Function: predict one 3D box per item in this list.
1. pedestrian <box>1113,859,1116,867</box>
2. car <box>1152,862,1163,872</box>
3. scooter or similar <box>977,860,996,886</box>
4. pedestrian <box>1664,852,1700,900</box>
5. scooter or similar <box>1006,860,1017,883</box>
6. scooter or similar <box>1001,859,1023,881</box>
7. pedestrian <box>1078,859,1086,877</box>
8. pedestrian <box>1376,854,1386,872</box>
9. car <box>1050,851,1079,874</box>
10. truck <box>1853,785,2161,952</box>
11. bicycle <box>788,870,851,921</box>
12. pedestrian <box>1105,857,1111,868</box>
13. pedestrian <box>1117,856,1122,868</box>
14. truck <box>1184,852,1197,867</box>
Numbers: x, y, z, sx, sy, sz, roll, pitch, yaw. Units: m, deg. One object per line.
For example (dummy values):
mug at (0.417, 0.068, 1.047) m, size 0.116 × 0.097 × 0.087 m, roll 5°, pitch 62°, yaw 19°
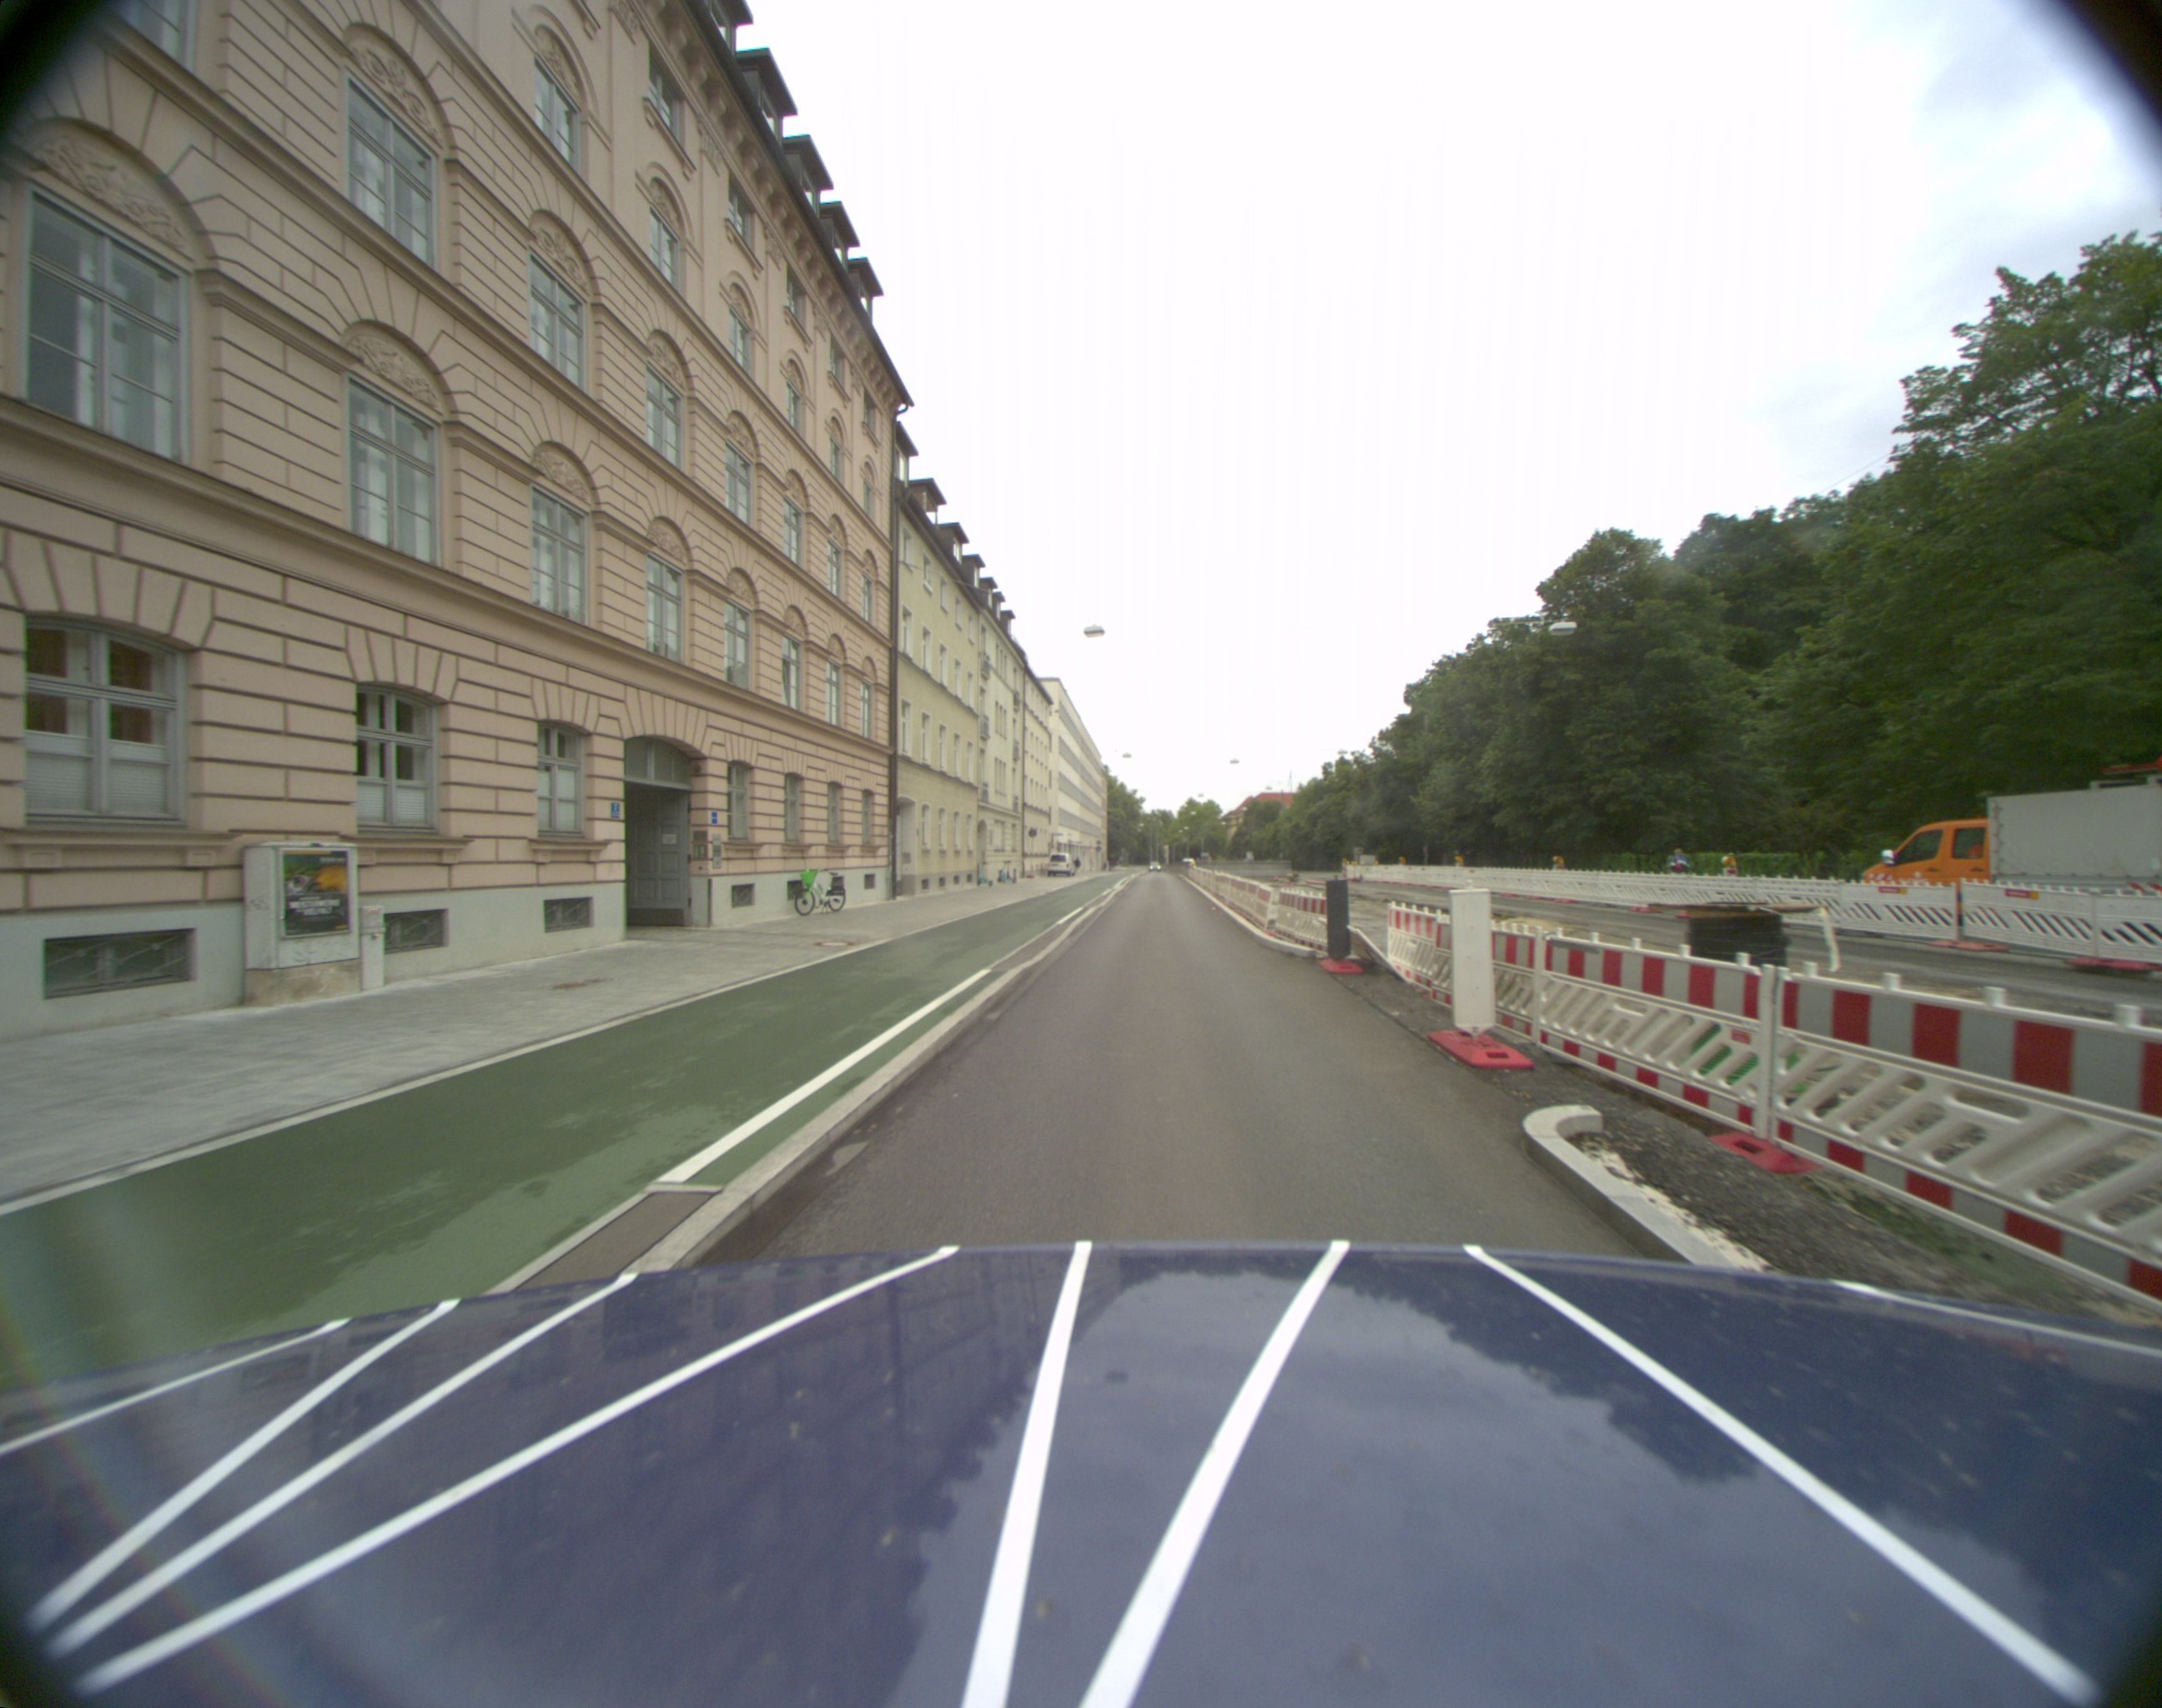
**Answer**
pedestrian at (5.343, 1.476, 119.894) m, size 0.367 × 1.239 × 0.470 m, roll 4°, pitch 1°, yaw 6°
car at (14.180, 2.470, 141.493) m, size 1.998 × 1.738 × 4.001 m, roll -1°, pitch 0°, yaw 4°
scooter or similar at (-4.624, 0.933, 37.385) m, size 0.246 × 1.224 × 1.122 m, roll 3°, pitch 1°, yaw 31°
pedestrian at (20.162, 0.728, 25.505) m, size 0.664 × 1.593 × 0.698 m, roll -1°, pitch 0°, yaw 7°
scooter or similar at (-3.976, 0.992, 43.403) m, size 0.387 × 1.265 × 1.120 m, roll 2°, pitch 1°, yaw 5°
scooter or similar at (-3.839, 0.899, 42.260) m, size 1.121 × 1.224 × 0.246 m, roll 1°, pitch 1°, yaw -28°
pedestrian at (0.077, 1.294, 71.654) m, size 0.666 × 1.626 × 0.737 m, roll 1°, pitch 0°, yaw 5°
pedestrian at (26.659, 0.816, 67.452) m, size 0.664 × 1.631 × 0.698 m, roll -1°, pitch 0°, yaw 7°
car at (-1.259, 0.648, 59.900) m, size 1.737 × 1.739 × 4.437 m, roll 1°, pitch 0°, yaw 6°
truck at (18.890, 0.244, 14.900) m, size 1.997 × 2.712 × 5.873 m, roll 0°, pitch 0°, yaw 6°
bicycle at (-6.476, 0.995, 18.921) m, size 0.426 × 1.167 × 1.734 m, roll 1°, pitch 1°, yaw 23°
pedestrian at (4.278, 1.369, 121.066) m, size 0.753 × 1.610 × 0.704 m, roll 4°, pitch 1°, yaw 6°
pedestrian at (6.078, 1.215, 119.895) m, size 0.514 × 1.825 × 0.602 m, roll 4°, pitch 1°, yaw 6°
truck at (19.979, 0.938, 139.132) m, size 2.057 × 2.625 × 4.414 m, roll 1°, pitch 0°, yaw 4°
